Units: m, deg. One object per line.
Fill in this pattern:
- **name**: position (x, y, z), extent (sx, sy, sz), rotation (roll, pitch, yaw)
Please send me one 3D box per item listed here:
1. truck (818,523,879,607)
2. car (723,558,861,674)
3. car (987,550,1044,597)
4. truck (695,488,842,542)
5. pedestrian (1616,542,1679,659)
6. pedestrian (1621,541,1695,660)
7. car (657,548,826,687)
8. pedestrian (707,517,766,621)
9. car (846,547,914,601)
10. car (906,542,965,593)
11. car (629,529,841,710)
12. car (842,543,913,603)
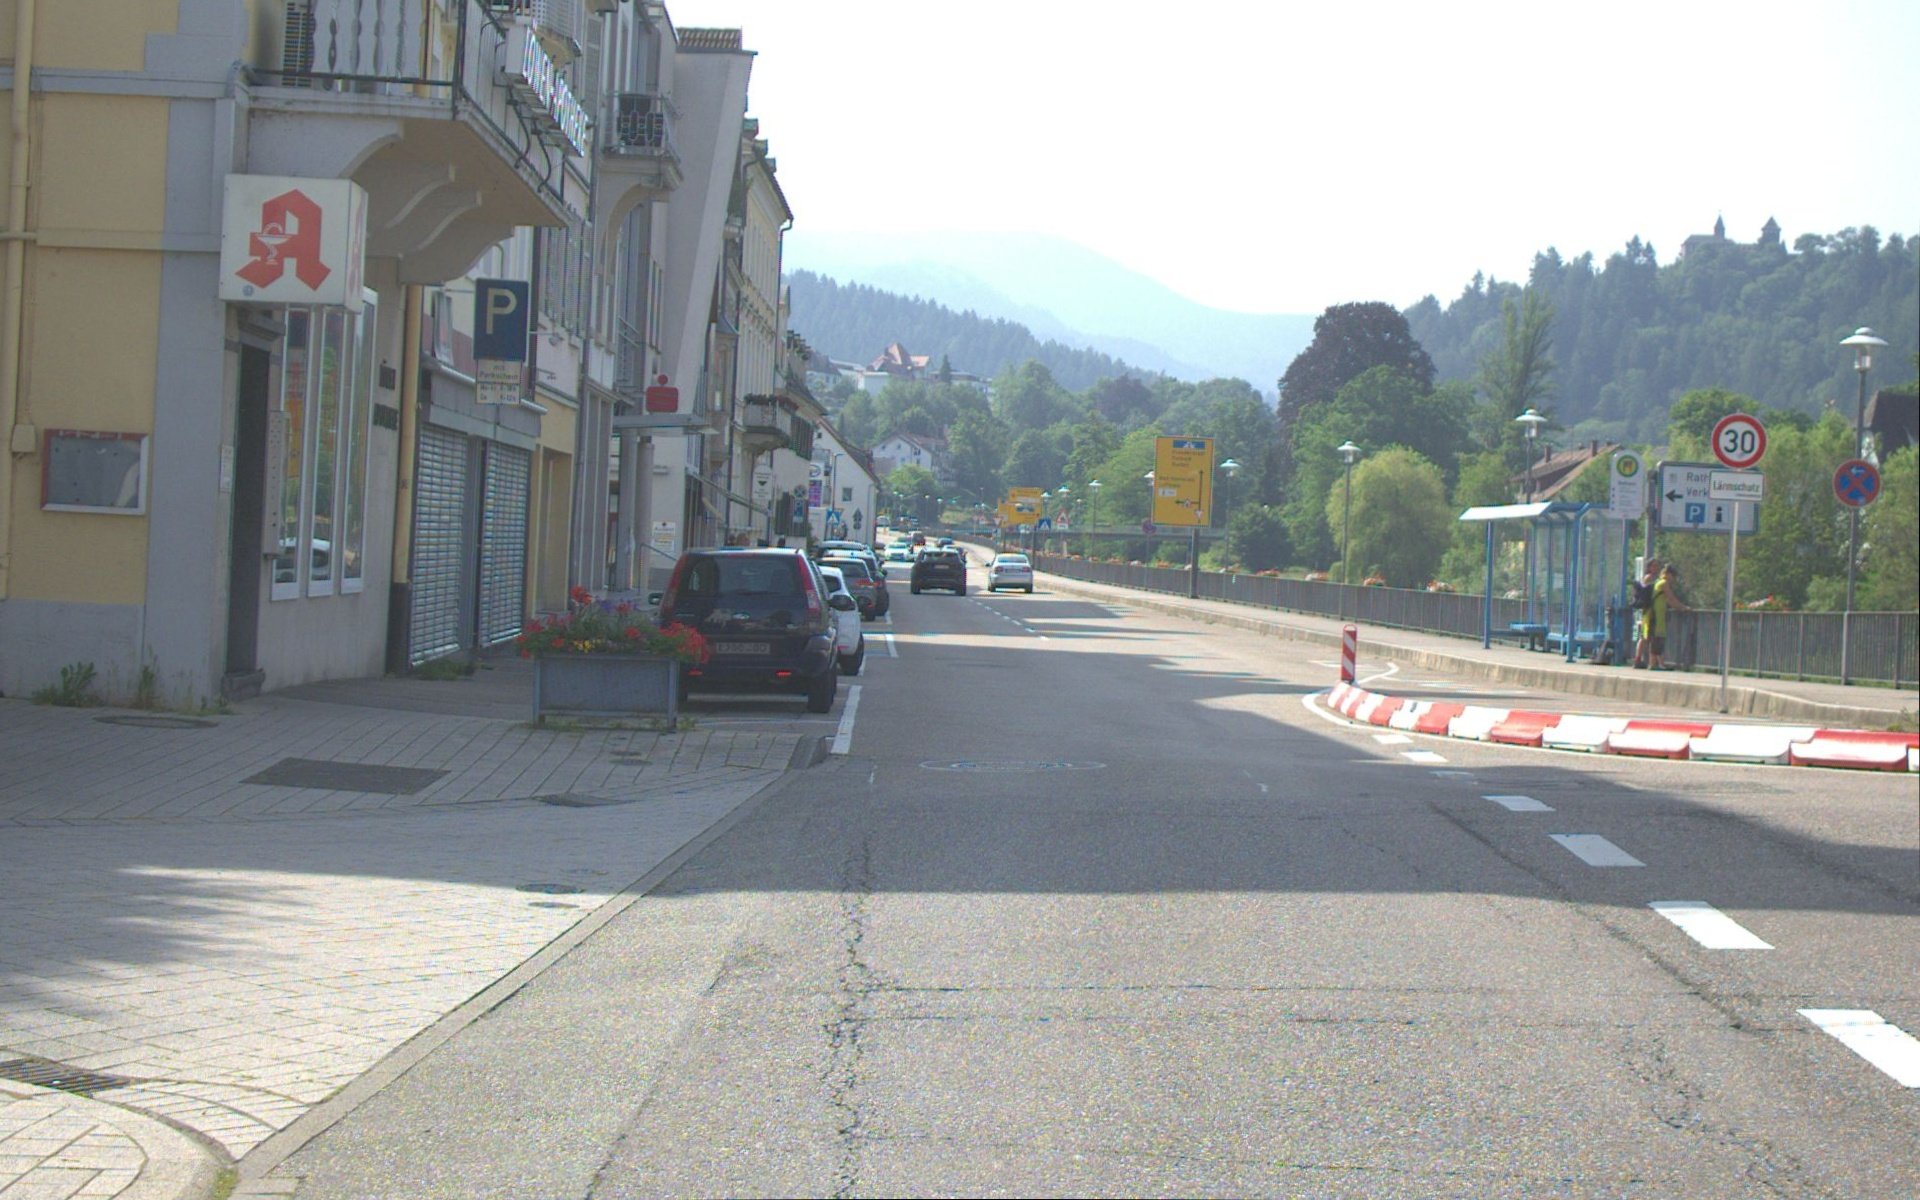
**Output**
- **truck**: position (-3.408, -1.073, 104.872), extent (1.747, 2.459, 4.662), rotation (2, 1, -2)
- **car**: position (-2.235, 0.183, 46.389), extent (1.747, 1.443, 3.795), rotation (2, 1, -2)
- **car**: position (2.111, -1.021, 131.577), extent (1.993, 1.656, 4.000), rotation (3, 1, -1)
- **truck**: position (-12.744, -5.647, 228.815), extent (9.172, 3.253, 3.081), rotation (1, 1, -20)
- **pedestrian**: position (10.285, 0.005, 51.443), extent (0.789, 1.700, 0.491), rotation (2, 1, 1)
- **pedestrian**: position (10.311, 0.001, 50.796), extent (0.867, 1.700, 0.777), rotation (2, 1, 1)
- **car**: position (-2.414, 0.166, 38.607), extent (1.747, 1.443, 3.277), rotation (2, 1, -2)
- **pedestrian**: position (-3.701, -0.512, 56.877), extent (0.690, 1.690, 0.659), rotation (2, 1, 27)
- **car**: position (-1.936, -0.628, 82.268), extent (1.563, 1.216, 3.277), rotation (2, 1, -2)
- **car**: position (-0.886, -1.167, 122.796), extent (1.993, 1.656, 4.000), rotation (3, 1, -1)
- **car**: position (-2.077, 0.144, 32.565), extent (1.846, 1.563, 3.568), rotation (2, 1, -2)
- **car**: position (-2.130, -0.706, 88.204), extent (1.747, 1.443, 3.277), rotation (2, 1, -2)
